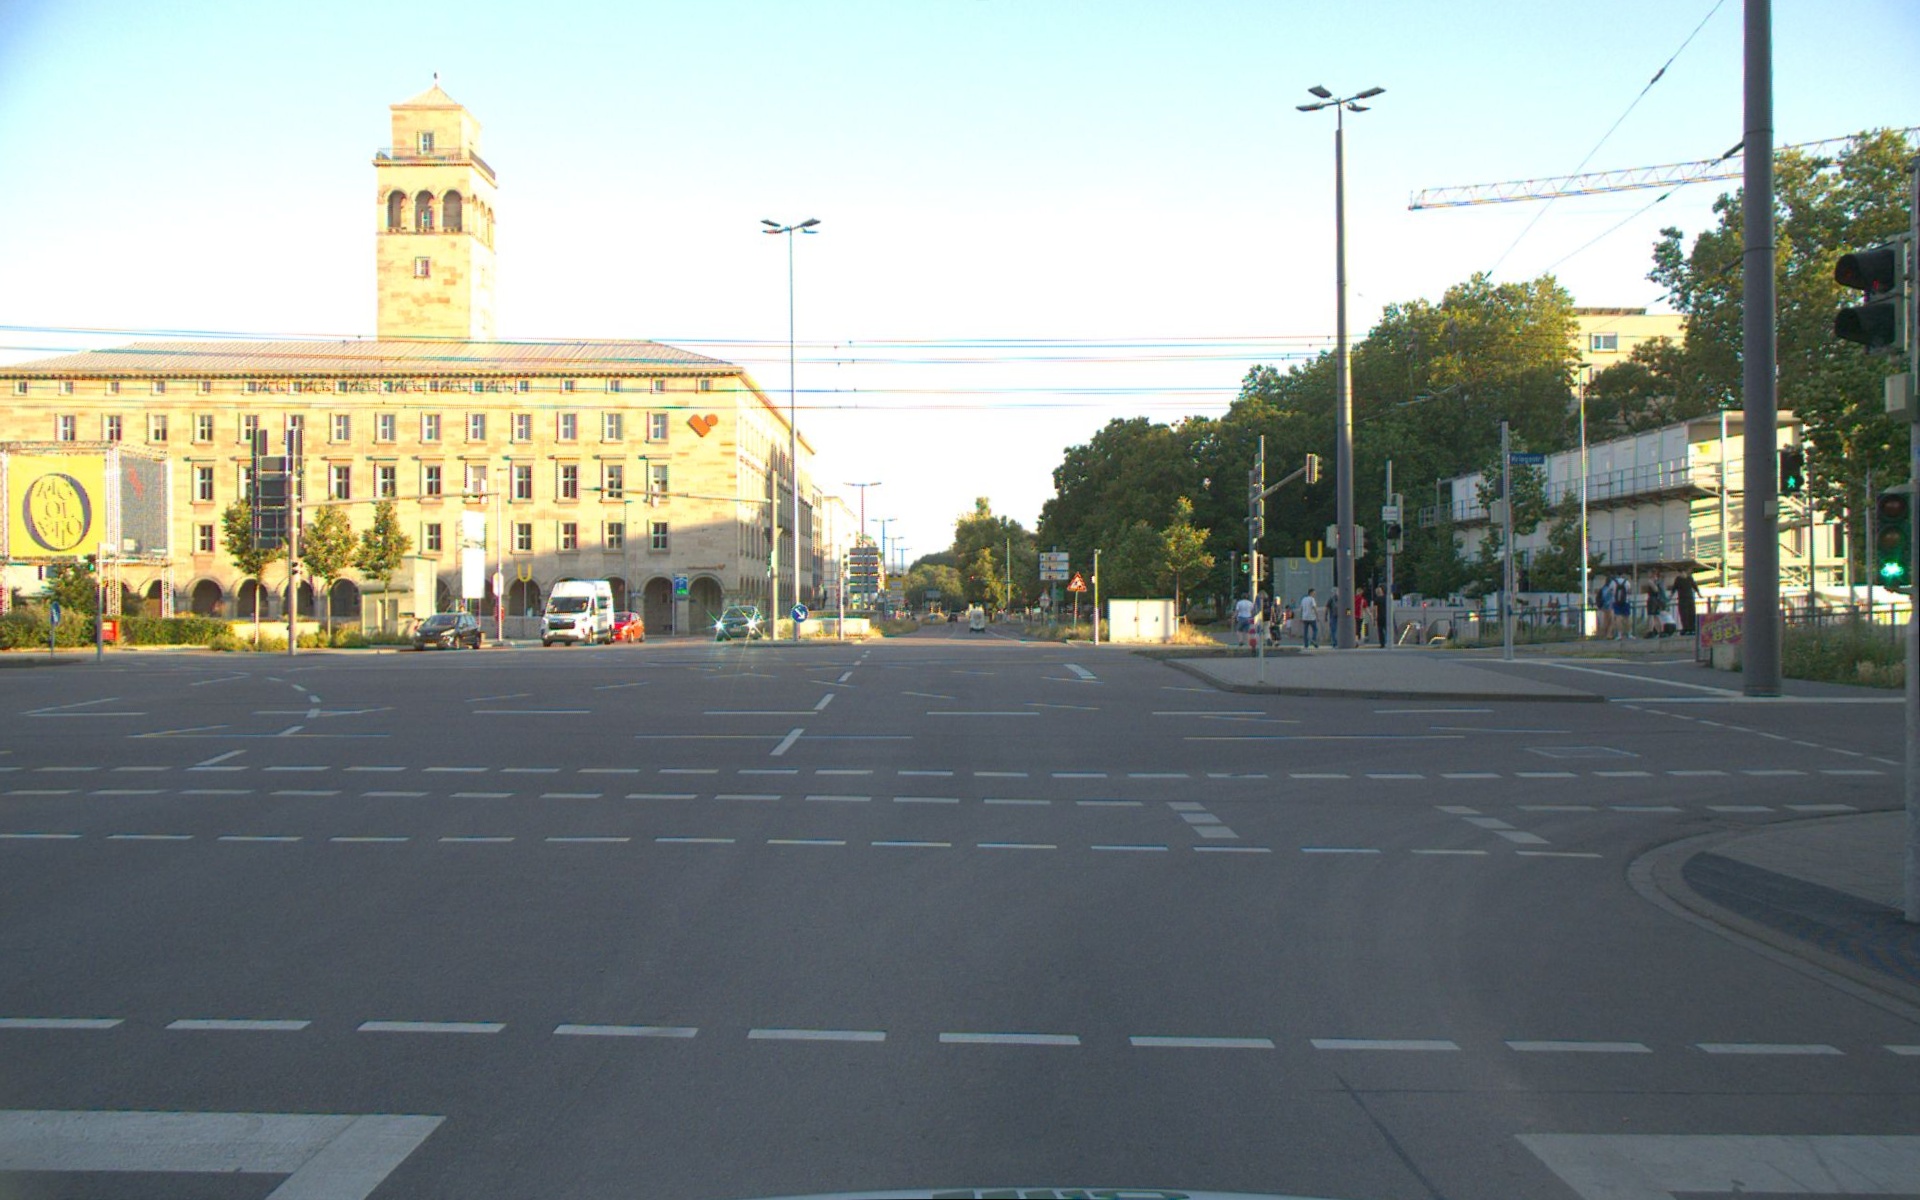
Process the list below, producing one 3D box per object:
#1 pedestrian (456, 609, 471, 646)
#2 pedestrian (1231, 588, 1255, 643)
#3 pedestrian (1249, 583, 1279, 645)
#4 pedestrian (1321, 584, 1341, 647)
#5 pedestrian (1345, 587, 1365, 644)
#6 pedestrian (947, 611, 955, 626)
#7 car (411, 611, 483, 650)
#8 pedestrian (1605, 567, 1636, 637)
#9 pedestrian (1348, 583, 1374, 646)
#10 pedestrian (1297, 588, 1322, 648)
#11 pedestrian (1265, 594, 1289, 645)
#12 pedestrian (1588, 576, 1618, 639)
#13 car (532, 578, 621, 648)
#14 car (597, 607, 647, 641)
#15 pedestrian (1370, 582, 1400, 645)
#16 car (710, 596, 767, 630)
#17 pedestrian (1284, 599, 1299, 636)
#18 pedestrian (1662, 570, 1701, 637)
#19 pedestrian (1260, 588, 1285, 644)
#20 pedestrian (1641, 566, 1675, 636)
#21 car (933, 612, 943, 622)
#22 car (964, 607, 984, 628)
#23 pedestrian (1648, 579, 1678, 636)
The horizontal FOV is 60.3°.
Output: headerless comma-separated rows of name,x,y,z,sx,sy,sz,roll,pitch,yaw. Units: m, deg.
pedestrian,-24.114,1.348,80.313,0.609,1.774,0.459,1,-1,-6
pedestrian,8.935,0.486,52.264,0.695,1.755,0.669,0,0,13
pedestrian,8.746,0.395,47.595,0.696,1.755,0.915,0,0,2
pedestrian,10.799,0.455,48.155,0.560,1.823,0.639,0,0,13
pedestrian,11.804,0.458,49.406,0.560,1.708,0.639,0,0,13
pedestrian,-1.067,2.132,192.649,0.888,1.700,1.306,0,0,-2
car,-21.080,1.243,68.097,1.786,1.492,4.156,-1,0,-2
pedestrian,16.808,0.050,42.080,0.696,1.755,0.668,-1,0,22
pedestrian,11.329,0.407,46.731,0.688,1.765,0.848,0,0,15
pedestrian,10.338,0.515,48.941,0.695,1.755,0.916,0,0,10
pedestrian,11.137,0.683,58.098,0.665,1.788,0.902,0,0,20
pedestrian,16.781,0.192,43.195,0.559,1.620,0.536,-1,0,-1
car,-16.238,0.551,70.340,2.232,2.824,6.084,-1,0,1
car,-16.108,1.140,78.974,1.703,1.513,3.999,0,0,-2
pedestrian,12.307,0.389,47.876,0.788,1.823,0.801,0,0,12
car,-9.412,0.519,70.449,1.785,1.365,4.001,0,0,1
pedestrian,17.122,0.911,85.379,0.652,1.875,0.713,0,0,4
pedestrian,19.066,0.087,43.705,0.696,1.755,0.668,0,0,-3
pedestrian,9.845,0.499,52.105,0.696,1.755,0.669,0,0,16
pedestrian,17.687,0.037,41.925,0.696,1.755,0.669,-1,0,17
car,-3.089,2.392,233.158,1.341,1.256,3.045,0,0,1
car,1.146,1.471,137.407,1.453,1.725,2.972,-1,0,-3
pedestrian,18.129,0.198,42.658,0.662,1.466,0.714,-1,0,21
